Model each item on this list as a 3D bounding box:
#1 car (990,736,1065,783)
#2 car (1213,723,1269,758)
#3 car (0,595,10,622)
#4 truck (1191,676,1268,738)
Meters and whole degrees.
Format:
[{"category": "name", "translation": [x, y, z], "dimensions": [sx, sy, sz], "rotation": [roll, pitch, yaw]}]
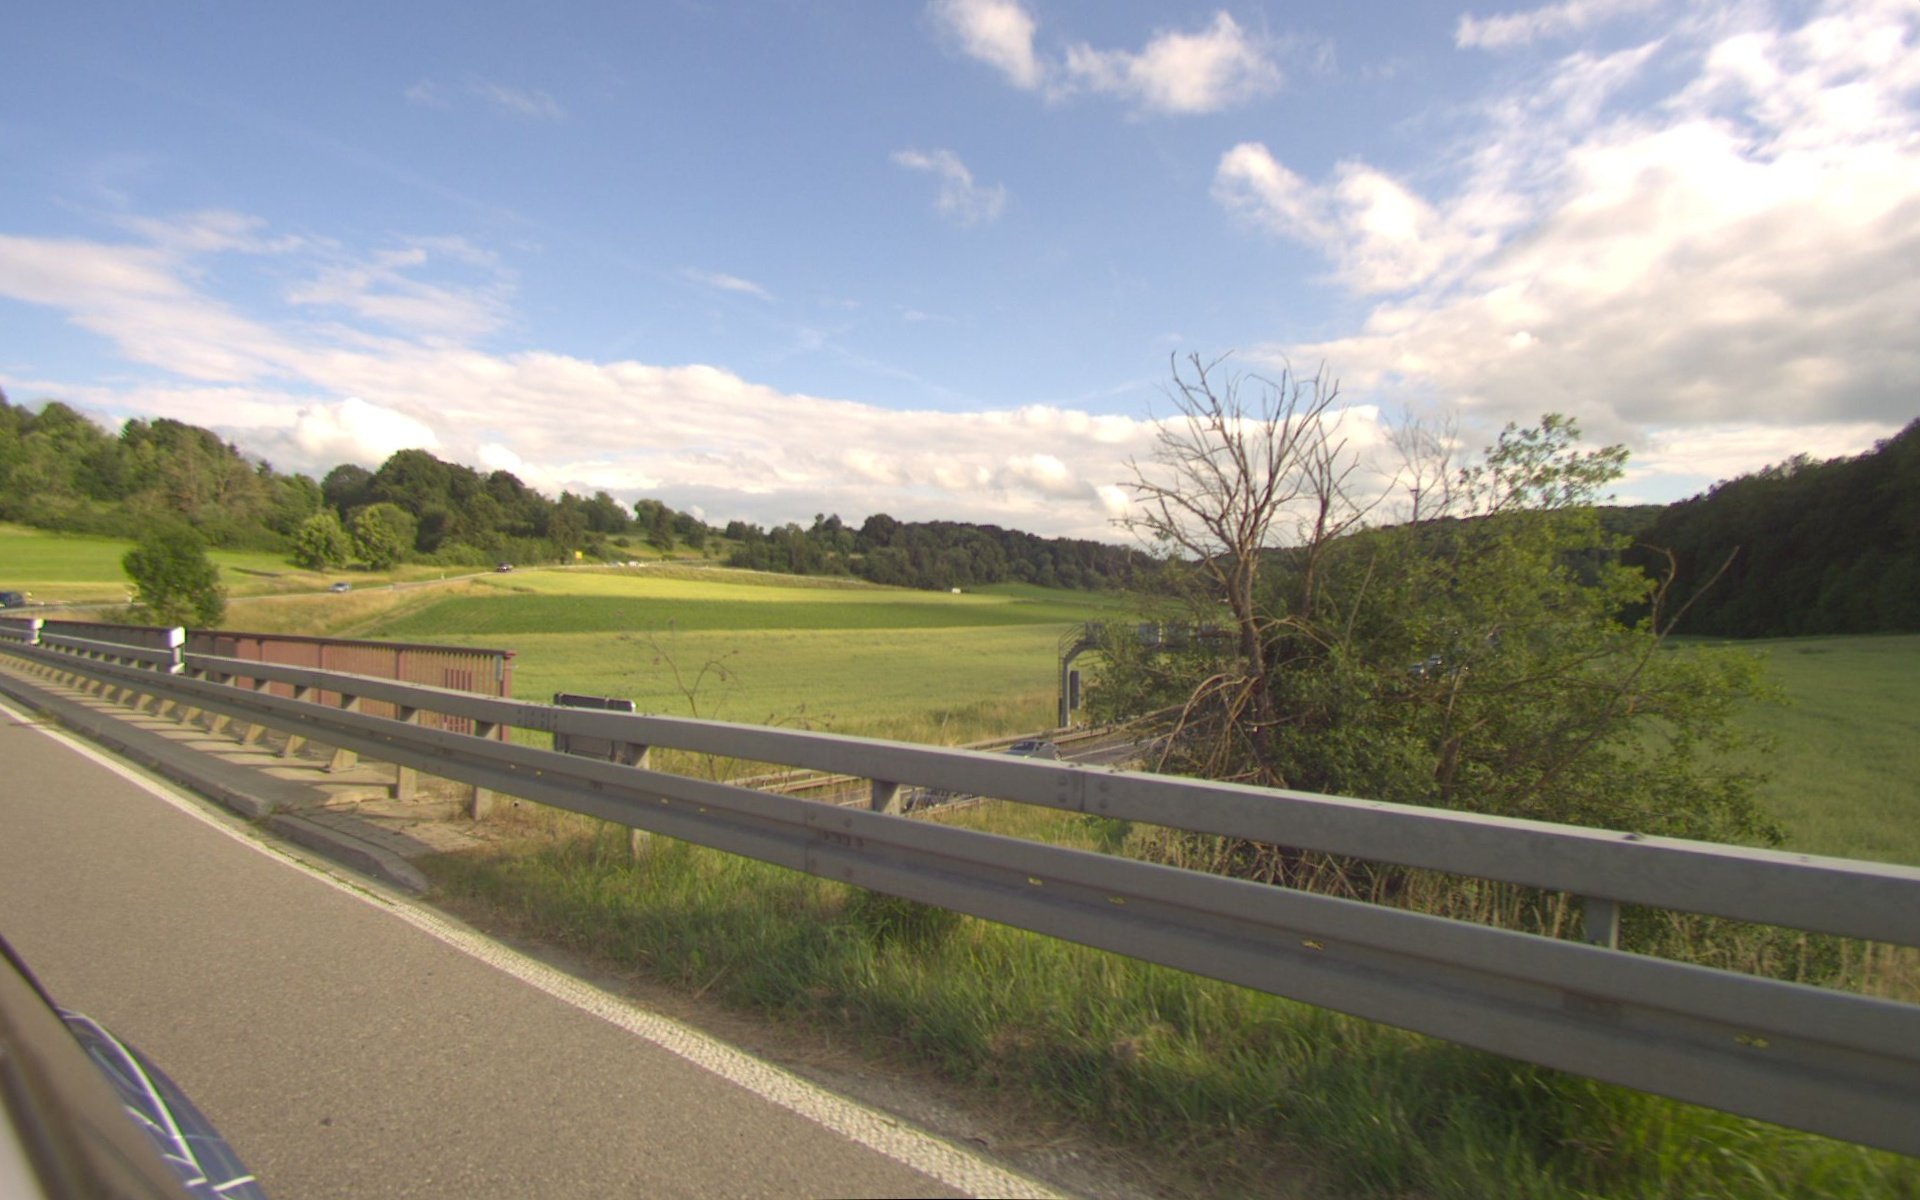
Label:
[{"category": "car", "translation": [3.489, 8.066, 51.472], "dimensions": [1.986, 1.727, 3.951], "rotation": [1, 0, 36]}, {"category": "car", "translation": [16.373, 8.158, 58.912], "dimensions": [1.825, 1.662, 3.950], "rotation": [1, -3, 37]}, {"category": "car", "translation": [-62.402, 0.557, 64.682], "dimensions": [1.792, 1.623, 4.011], "rotation": [3, 0, -35]}, {"category": "truck", "translation": [18.999, 7.407, 70.984], "dimensions": [2.121, 3.431, 8.386], "rotation": [1, 1, 38]}]
